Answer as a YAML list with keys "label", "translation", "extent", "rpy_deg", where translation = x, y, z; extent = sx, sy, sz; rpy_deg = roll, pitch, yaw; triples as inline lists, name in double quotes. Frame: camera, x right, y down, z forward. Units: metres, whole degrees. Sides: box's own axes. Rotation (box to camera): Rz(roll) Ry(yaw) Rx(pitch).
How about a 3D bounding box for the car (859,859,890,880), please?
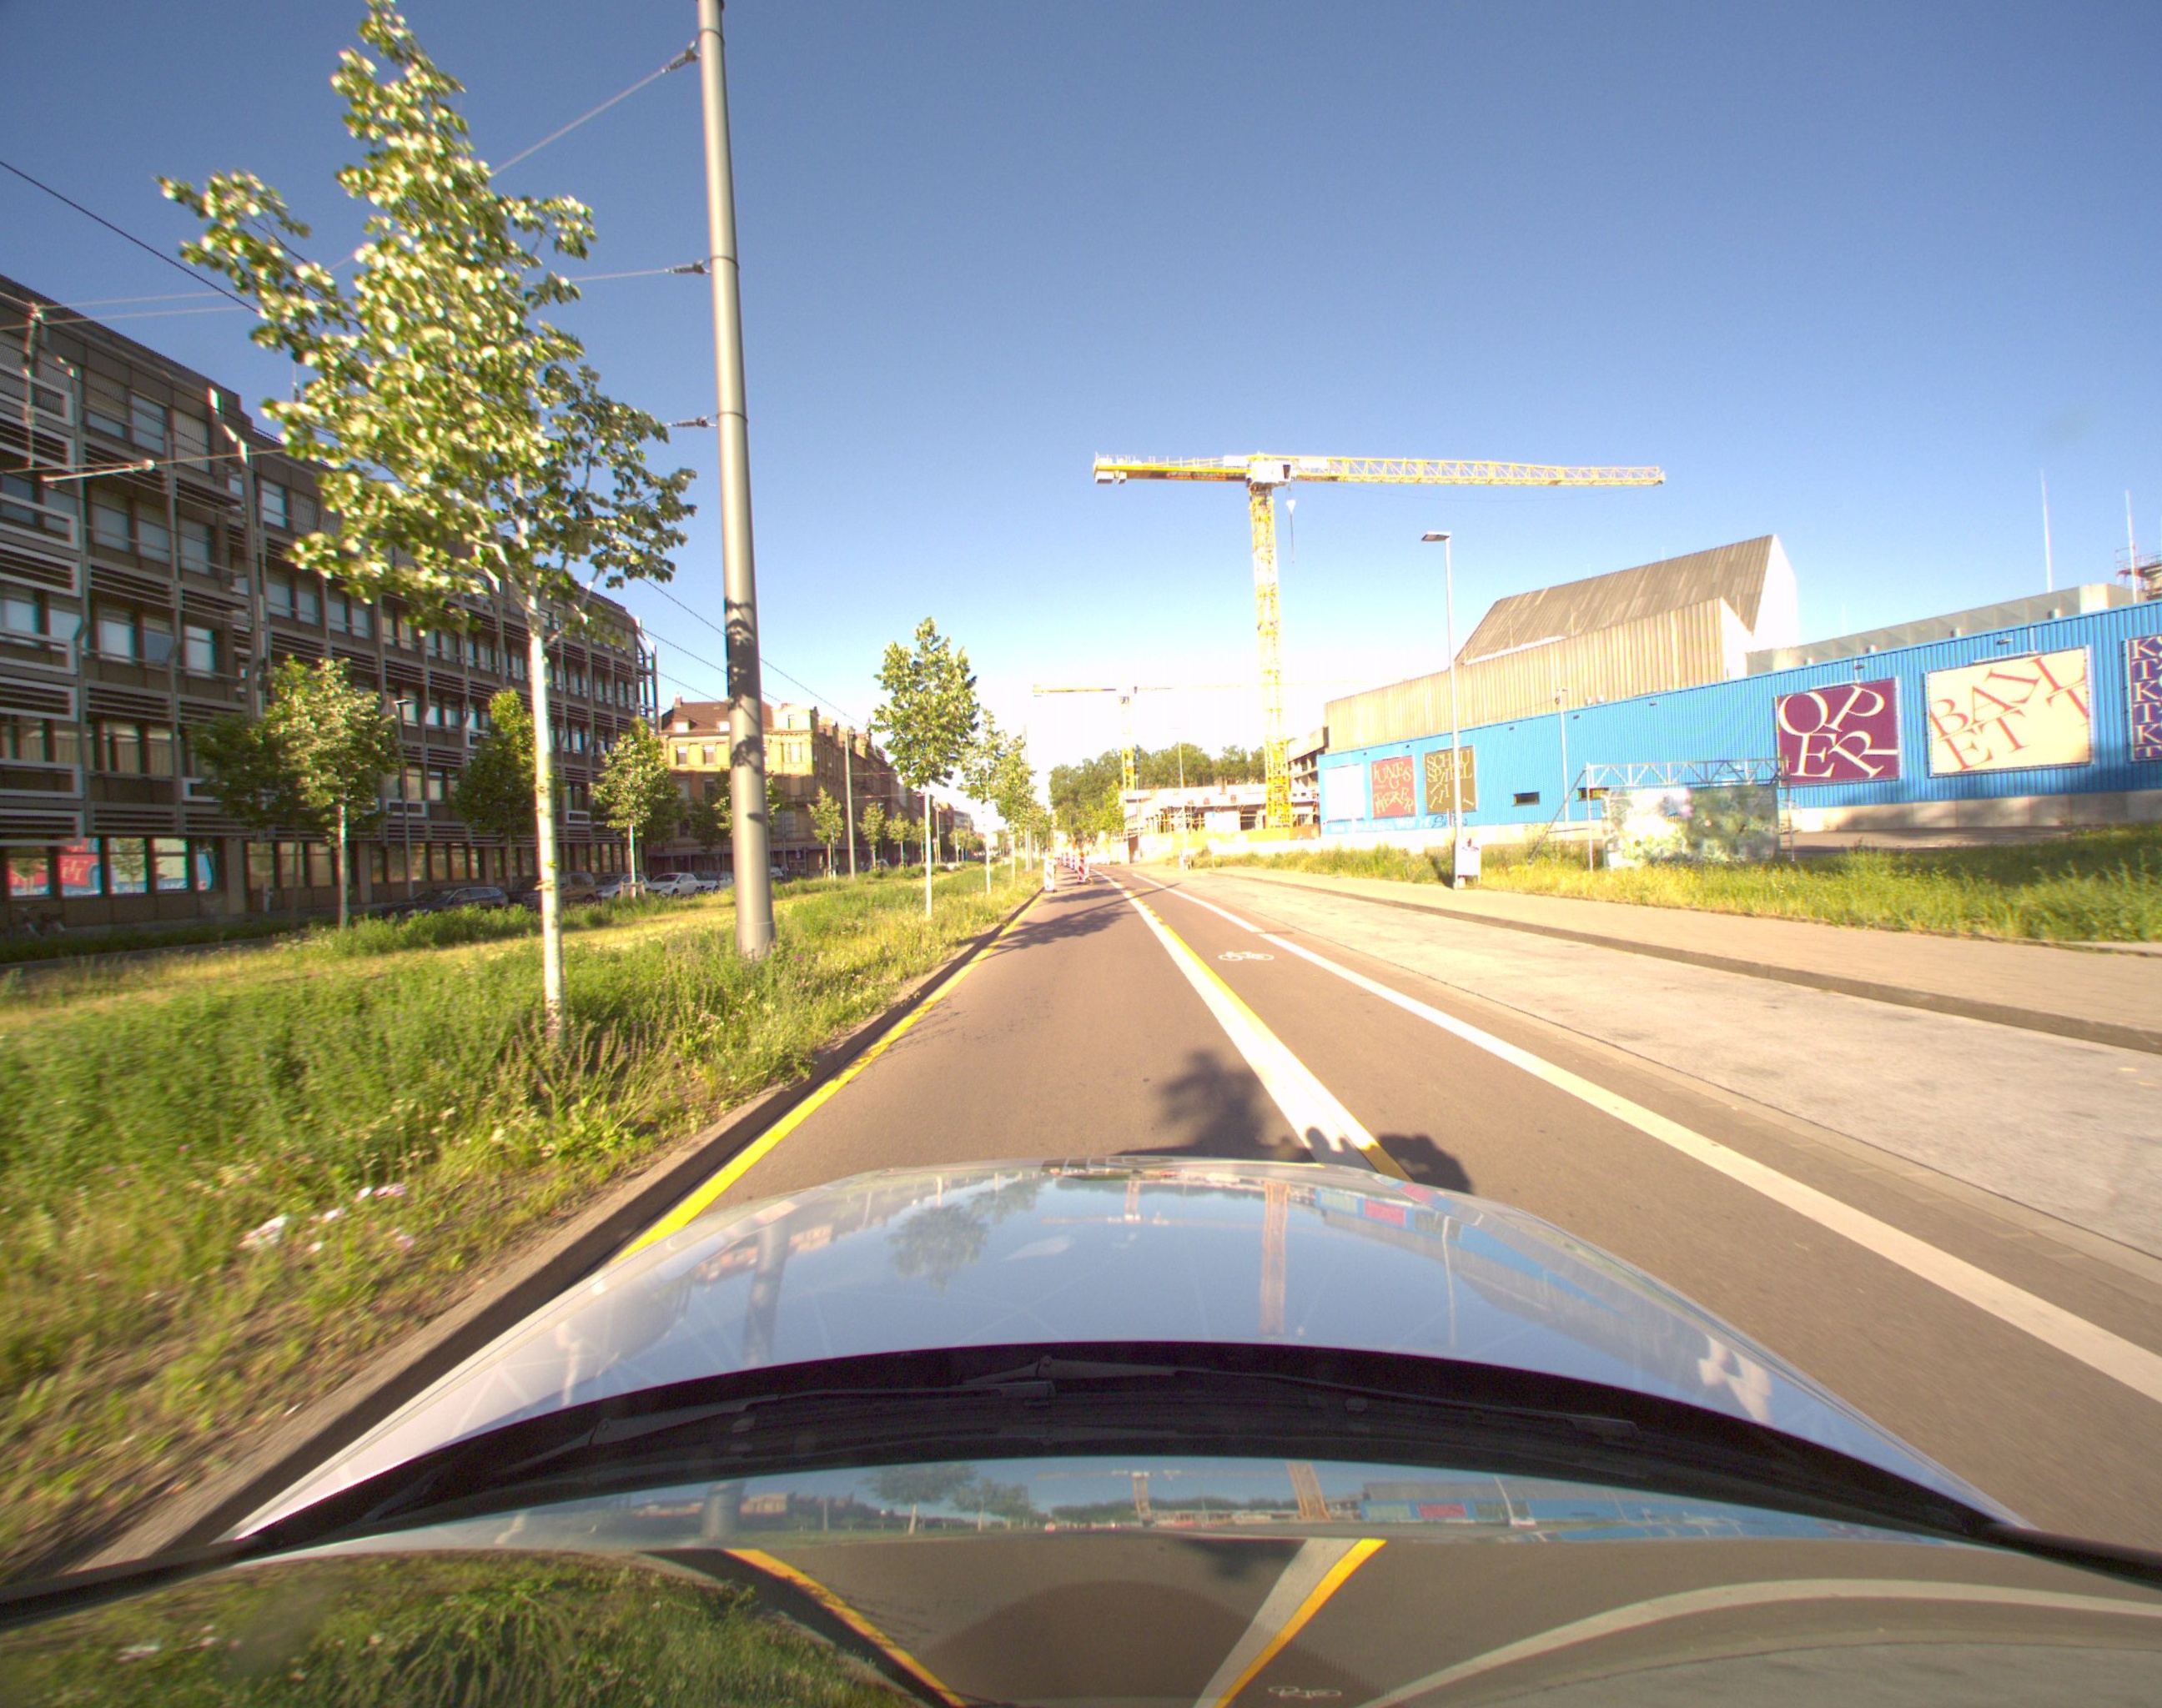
- label: "car"
  translation: [-18.983, 1.414, 75.116]
  extent: [1.722, 1.746, 4.121]
  rpy_deg: [-2, 0, 0]

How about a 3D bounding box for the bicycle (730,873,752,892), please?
- label: "bicycle"
  translation: [-21.120, 1.744, 50.623]
  extent: [0.563, 1.096, 1.771]
  rpy_deg: [-3, 0, 1]

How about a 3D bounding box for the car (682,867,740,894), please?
- label: "car"
  translation: [-23.591, 1.672, 52.044]
  extent: [1.642, 1.554, 3.969]
  rpy_deg: [-2, 0, 3]

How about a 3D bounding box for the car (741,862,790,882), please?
- label: "car"
  translation: [-33.536, 1.879, 86.616]
  extent: [4.510, 1.903, 1.892]
  rpy_deg: [-3, 0, -10]

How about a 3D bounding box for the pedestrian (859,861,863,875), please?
- label: "pedestrian"
  translation: [-28.432, 1.778, 105.168]
  extent: [0.507, 1.765, 0.405]
  rpy_deg: [0, -1, -6]

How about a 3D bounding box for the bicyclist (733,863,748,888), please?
- label: "bicyclist"
  translation: [-21.143, 1.334, 50.597]
  extent: [0.563, 1.457, 0.706]
  rpy_deg: [-3, 0, 1]

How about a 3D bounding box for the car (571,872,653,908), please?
- label: "car"
  translation: [-23.621, 1.768, 41.189]
  extent: [1.731, 1.536, 3.887]
  rpy_deg: [-2, 0, 2]

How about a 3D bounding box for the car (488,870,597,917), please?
- label: "car"
  translation: [-23.652, 1.684, 35.997]
  extent: [1.744, 1.771, 4.334]
  rpy_deg: [-1, 0, 2]

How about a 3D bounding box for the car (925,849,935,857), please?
- label: "car"
  translation: [-31.307, -0.165, 169.382]
  extent: [1.564, 1.562, 4.705]
  rpy_deg: [-3, 0, -6]

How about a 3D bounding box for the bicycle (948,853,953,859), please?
- label: "bicycle"
  translation: [-23.876, 0.335, 148.931]
  extent: [0.694, 0.978, 1.824]
  rpy_deg: [-2, 0, -4]

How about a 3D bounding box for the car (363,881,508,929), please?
- label: "car"
  translation: [-23.958, 1.840, 30.457]
  extent: [1.723, 1.469, 4.506]
  rpy_deg: [-1, 0, 1]

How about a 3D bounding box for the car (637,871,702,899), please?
- label: "car"
  translation: [-23.423, 1.734, 46.490]
  extent: [1.618, 1.441, 3.821]
  rpy_deg: [-1, 0, 2]

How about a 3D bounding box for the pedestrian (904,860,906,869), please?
- label: "pedestrian"
  translation: [-33.077, 2.021, 152.865]
  extent: [0.366, 1.765, 0.405]
  rpy_deg: [0, -1, -6]

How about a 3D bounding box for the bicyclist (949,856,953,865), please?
- label: "bicyclist"
  translation: [-23.867, 1.216, 149.383]
  extent: [0.694, 1.657, 0.881]
  rpy_deg: [-2, 0, -5]

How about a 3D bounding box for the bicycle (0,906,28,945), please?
- label: "bicycle"
  translation: [-31.810, 2.121, 23.741]
  extent: [1.864, 1.072, 0.426]
  rpy_deg: [-3, 0, 7]

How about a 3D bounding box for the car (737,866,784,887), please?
- label: "car"
  translation: [-23.682, 1.647, 60.229]
  extent: [1.723, 1.461, 3.903]
  rpy_deg: [-1, 0, 3]

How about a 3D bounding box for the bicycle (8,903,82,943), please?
- label: "bicycle"
  translation: [-31.760, 2.116, 24.975]
  extent: [1.918, 1.072, 0.426]
  rpy_deg: [-3, 0, 7]

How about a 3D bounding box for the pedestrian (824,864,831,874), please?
- label: "pedestrian"
  translation: [-30.196, 1.798, 97.044]
  extent: [0.689, 1.059, 0.735]
  rpy_deg: [-2, 0, -5]
